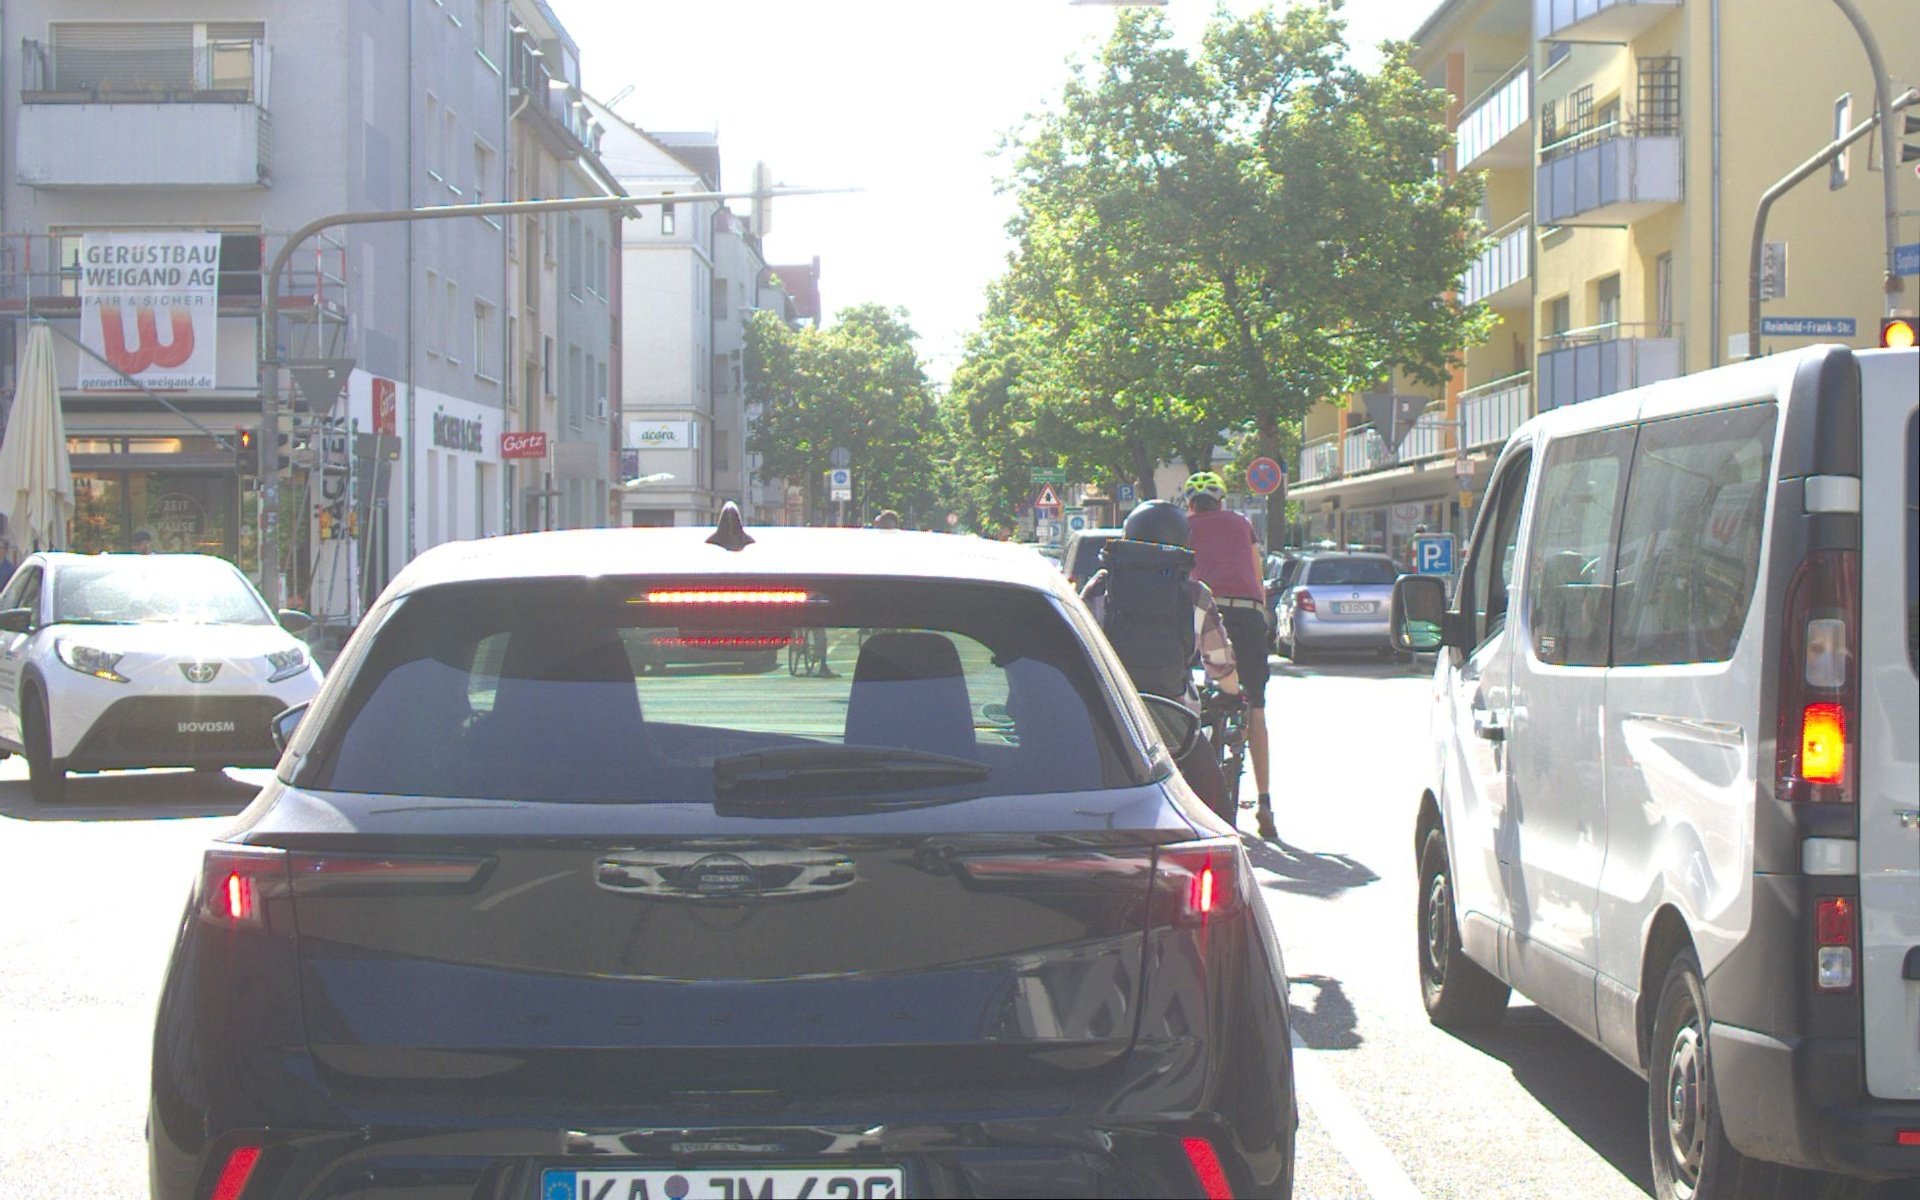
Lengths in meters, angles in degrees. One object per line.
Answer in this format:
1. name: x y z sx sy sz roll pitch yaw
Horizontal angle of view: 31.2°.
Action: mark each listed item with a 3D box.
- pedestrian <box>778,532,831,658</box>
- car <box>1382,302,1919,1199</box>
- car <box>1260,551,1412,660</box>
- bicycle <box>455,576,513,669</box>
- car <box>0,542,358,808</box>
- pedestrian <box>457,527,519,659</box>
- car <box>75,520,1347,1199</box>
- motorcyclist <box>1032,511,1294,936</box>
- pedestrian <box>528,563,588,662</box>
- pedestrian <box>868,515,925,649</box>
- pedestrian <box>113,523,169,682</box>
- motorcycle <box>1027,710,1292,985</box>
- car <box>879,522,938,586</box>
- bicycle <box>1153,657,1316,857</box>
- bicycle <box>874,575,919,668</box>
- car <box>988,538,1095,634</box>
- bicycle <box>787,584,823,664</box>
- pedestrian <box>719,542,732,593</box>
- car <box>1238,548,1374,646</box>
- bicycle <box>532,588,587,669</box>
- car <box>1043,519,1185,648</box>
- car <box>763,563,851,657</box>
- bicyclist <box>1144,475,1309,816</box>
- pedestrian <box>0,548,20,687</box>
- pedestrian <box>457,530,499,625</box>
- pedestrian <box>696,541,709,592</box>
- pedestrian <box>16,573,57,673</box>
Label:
1. pedestrian: -1.996 -0.072 44.153 0.680 1.600 0.762 0 1 -2
2. car: 2.456 0.418 8.846 1.993 1.972 4.896 2 1 -1
3. car: 5.168 0.045 47.617 1.634 1.428 3.957 0 1 0
4. bicycle: -6.127 0.278 44.349 0.521 1.143 2.284 0 1 -2
5. car: -5.271 0.398 21.926 1.765 1.531 3.787 0 1 -27
6. pedestrian: -6.046 -0.095 44.078 0.707 1.672 0.802 0 1 -2
7. car: -0.423 0.616 6.803 1.770 1.525 4.001 0 1 -2
8. motorcyclist: 0.728 0.426 12.688 0.864 1.497 1.160 0 1 -2
9. pedestrian: -5.145 0.150 44.031 0.707 1.249 0.802 0 1 -2
10. pedestrian: -0.814 -0.234 43.967 0.707 1.695 0.802 0 1 -2
11. pedestrian: -9.186 0.019 38.575 0.561 1.769 0.584 0 1 -9
12. motorcycle: 0.697 0.873 12.629 0.825 0.842 1.885 0 1 -1
13. car: -1.645 -1.480 109.646 1.855 2.007 3.881 0 1 -1
14. bicycle: 1.407 0.788 17.977 0.577 0.901 2.301 0 1 -2
15. bicycle: -0.824 0.260 44.124 0.521 1.143 2.170 0 1 -2
16. car: 1.490 -0.287 64.284 1.902 1.722 4.000 0 1 0
17. bicycle: -1.999 0.299 44.414 0.443 0.989 2.069 0 1 -2
18. pedestrian: -7.636 -1.069 112.008 0.402 1.669 0.418 0 1 -1
19. car: 5.234 -0.072 52.377 1.634 1.428 4.000 0 1 -1
20. bicycle: -5.157 0.353 44.339 0.521 0.989 2.340 0 1 -2
21. car: 2.104 -0.255 47.990 1.902 1.722 4.073 0 1 1
22. car: -3.394 0.193 76.688 1.849 2.007 4.000 0 1 -1
23. bicyclist: 1.372 0.217 17.920 0.689 1.707 1.414 0 1 -2
24. pedestrian: -10.732 0.190 37.896 0.584 1.516 0.650 0 1 -3
25. pedestrian: -7.721 -0.364 55.077 0.617 1.516 0.725 0 1 -3
26. pedestrian: -8.405 -1.086 112.365 0.402 1.669 0.418 0 1 -1
27. pedestrian: -10.194 0.254 37.953 0.355 1.088 0.462 0 1 -3
